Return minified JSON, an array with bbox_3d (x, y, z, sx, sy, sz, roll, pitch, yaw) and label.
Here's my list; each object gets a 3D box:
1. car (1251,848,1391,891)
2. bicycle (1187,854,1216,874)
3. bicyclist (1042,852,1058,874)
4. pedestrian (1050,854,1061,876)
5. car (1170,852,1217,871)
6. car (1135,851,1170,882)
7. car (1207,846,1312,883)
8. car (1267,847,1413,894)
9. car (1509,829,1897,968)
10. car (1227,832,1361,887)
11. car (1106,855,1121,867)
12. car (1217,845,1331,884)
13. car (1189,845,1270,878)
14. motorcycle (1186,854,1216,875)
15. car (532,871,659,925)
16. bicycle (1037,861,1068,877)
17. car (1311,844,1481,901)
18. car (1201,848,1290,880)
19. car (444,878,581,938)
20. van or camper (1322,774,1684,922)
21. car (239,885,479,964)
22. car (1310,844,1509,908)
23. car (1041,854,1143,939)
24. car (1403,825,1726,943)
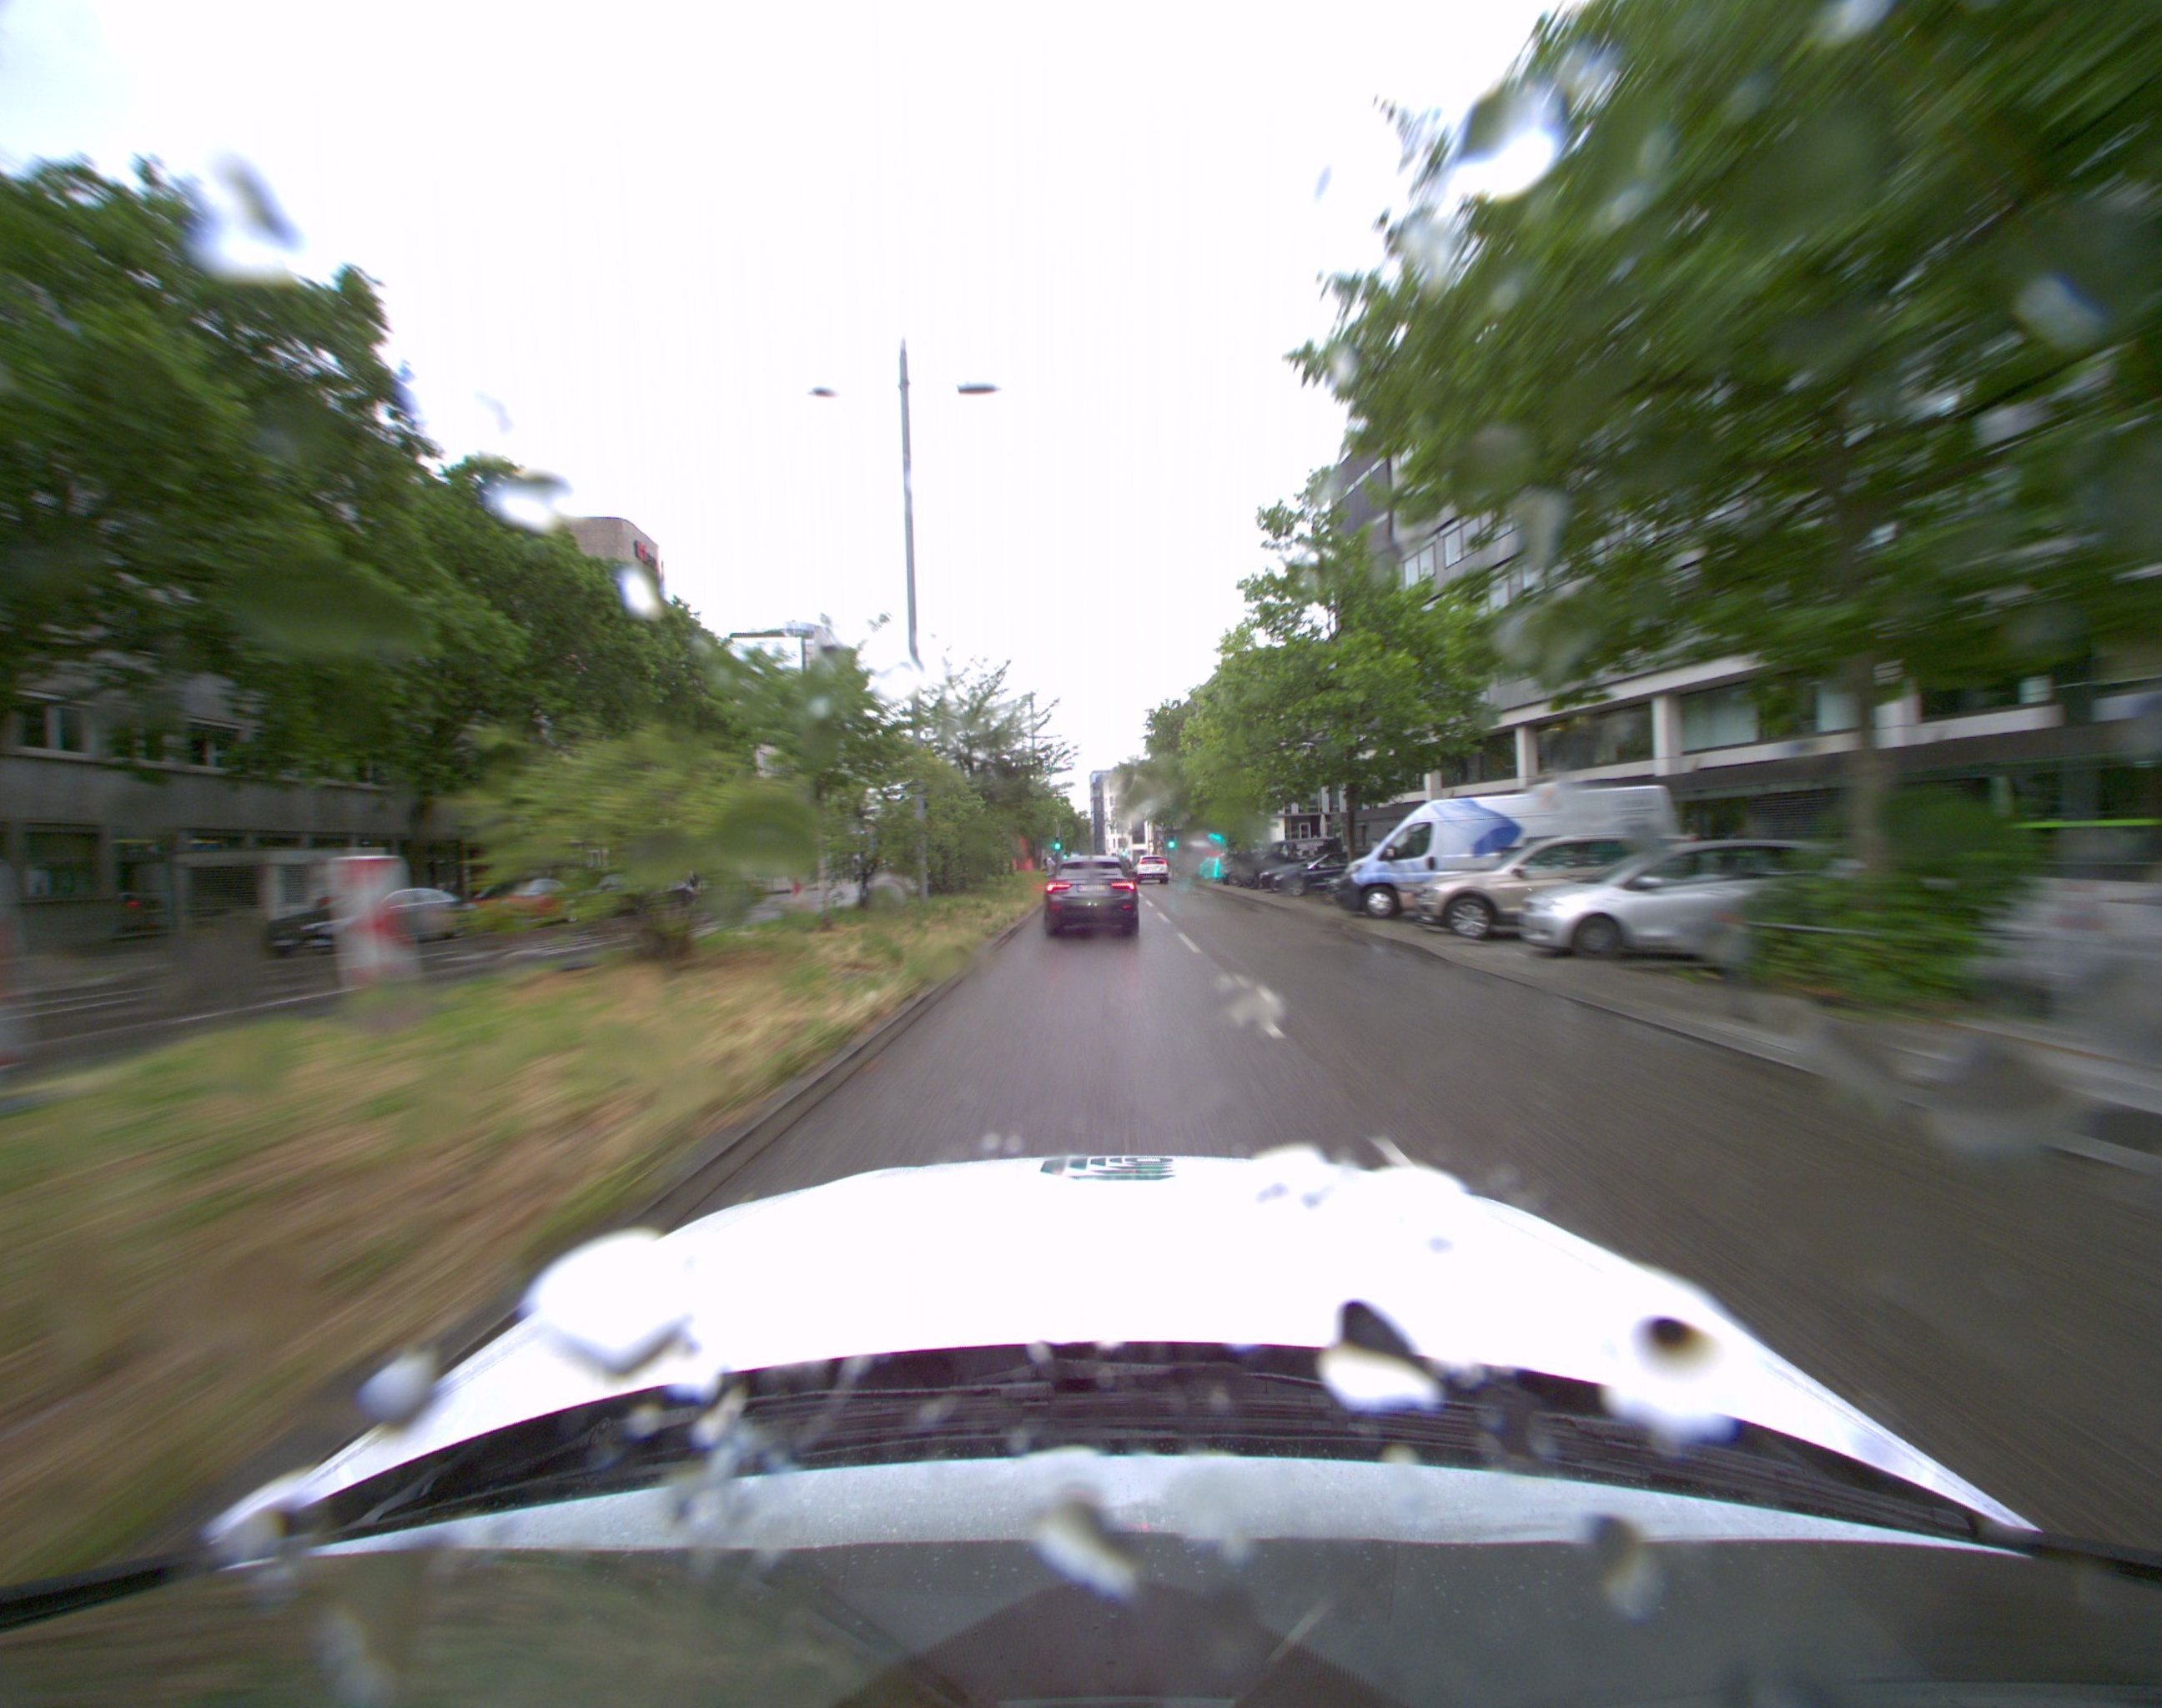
[{"bbox_3d":[8.847,0.581,30.143,4.578,1.394,1.859,-3,-1,30],"label":"car"},{"bbox_3d":[8.710,0.755,58.873,1.970,1.415,0.728,-1,-1,10],"label":"bicycle"},{"bbox_3d":[-2.299,0.693,60.879,1.100,1.622,0.751,1,-1,1],"label":"bicyclist"},{"bbox_3d":[-2.067,0.876,65.463,0.657,1.793,0.753,-1,-1,15],"label":"pedestrian"},{"bbox_3d":[9.831,0.664,71.393,3.815,1.568,1.678,-2,-2,44],"label":"car"},{"bbox_3d":[4.136,0.726,47.707,1.842,1.669,4.041,-1,0,3],"label":"car"},{"bbox_3d":[8.595,0.493,39.139,4.738,1.534,1.877,-3,0,16],"label":"car"},{"bbox_3d":[8.638,0.568,27.220,4.323,1.436,1.772,-2,-1,28],"label":"car"},{"bbox_3d":[7.661,0.526,10.486,3.617,1.547,1.724,-1,0,21],"label":"car"},{"bbox_3d":[8.708,0.230,33.316,4.890,1.978,1.941,-3,0,28],"label":"car"},{"bbox_3d":[4.119,0.909,104.027,1.842,1.523,4.041,-1,0,3],"label":"car"},{"bbox_3d":[8.523,0.465,36.054,4.511,1.507,1.880,-3,0,26],"label":"car"},{"bbox_3d":[8.557,0.454,47.050,4.177,1.669,1.850,-3,0,29],"label":"car"},{"bbox_3d":[8.359,0.749,56.937,2.015,1.415,0.728,-1,-1,10],"label":"motorcycle"},{"bbox_3d":[-18.084,1.572,30.660,1.763,1.652,4.841,-5,0,-1],"label":"car"},{"bbox_3d":[-2.100,1.118,60.864,2.246,1.162,0.751,1,-1,1],"label":"bicycle"},{"bbox_3d":[8.672,0.534,22.487,4.160,1.436,1.731,-2,-1,28],"label":"car"},{"bbox_3d":[8.841,0.534,43.907,4.252,1.488,1.855,-3,0,31],"label":"car"},{"bbox_3d":[-17.622,1.611,25.451,1.682,1.519,3.623,-5,0,-2],"label":"car"},{"bbox_3d":[8.185,-0.018,16.359,6.008,2.558,2.118,-2,-1,29],"label":"van or camper"},{"bbox_3d":[-17.755,1.647,20.415,1.763,1.434,4.671,-5,0,0],"label":"car"},{"bbox_3d":[8.133,0.547,20.221,4.346,1.436,1.953,-2,-1,28],"label":"car"},{"bbox_3d":[0.269,0.785,16.990,1.842,1.523,4.040,-1,0,2],"label":"car"},{"bbox_3d":[7.623,0.456,13.253,4.216,1.667,1.829,-1,0,28],"label":"car"}]
